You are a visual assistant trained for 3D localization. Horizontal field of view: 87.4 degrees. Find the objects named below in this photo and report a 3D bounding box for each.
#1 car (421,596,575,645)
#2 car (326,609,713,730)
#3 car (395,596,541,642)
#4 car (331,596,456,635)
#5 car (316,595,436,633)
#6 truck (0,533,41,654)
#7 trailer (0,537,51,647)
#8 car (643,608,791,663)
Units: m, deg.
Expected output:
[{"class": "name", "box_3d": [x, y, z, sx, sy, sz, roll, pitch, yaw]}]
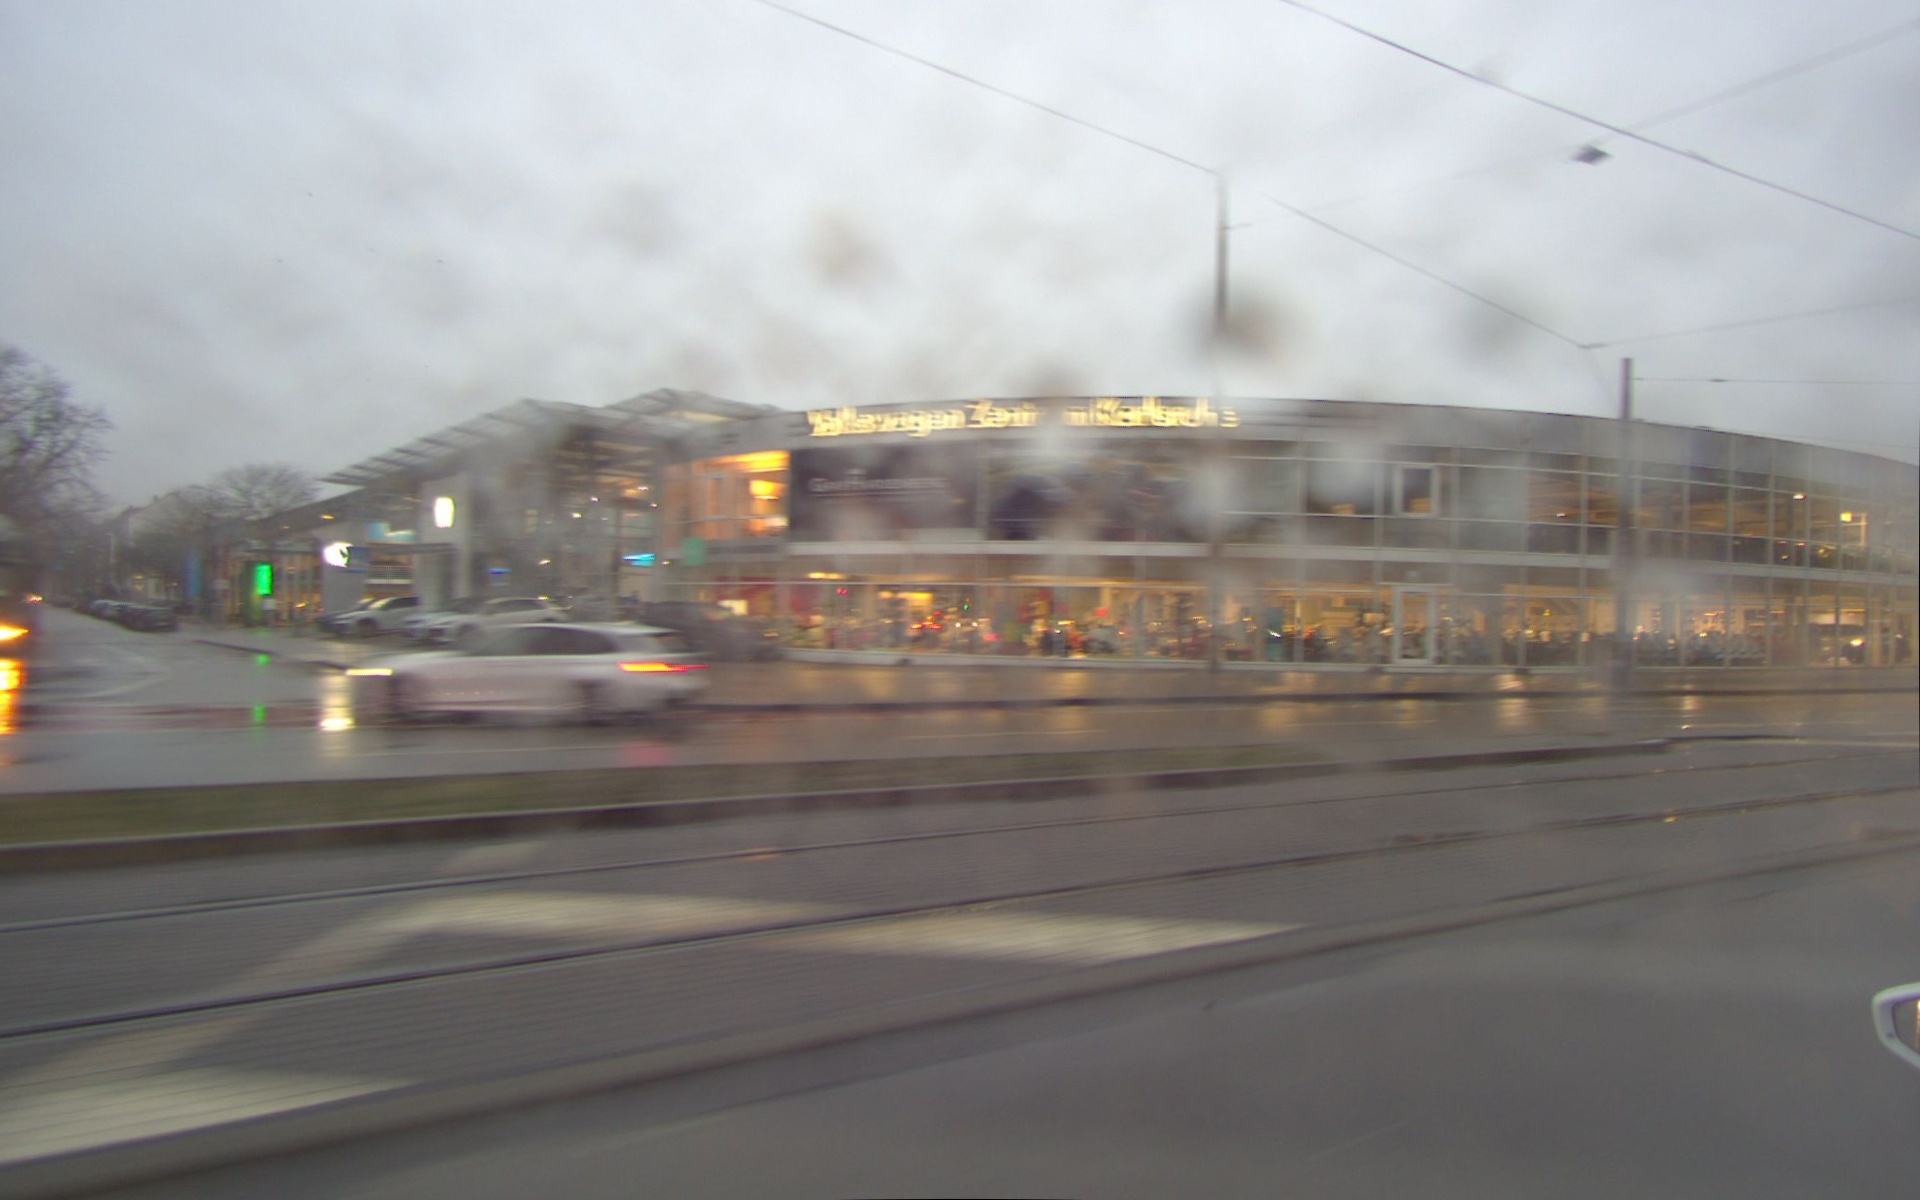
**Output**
[{"class": "car", "box_3d": [-15.666, 0.709, 34.170, 4.387, 1.543, 1.862, 2, 0, -42]}, {"class": "car", "box_3d": [-6.222, 0.952, 14.630, 4.715, 1.517, 2.000, 1, 0, 1]}, {"class": "car", "box_3d": [-17.626, 0.706, 36.114, 4.387, 1.543, 1.862, 2, 0, -42]}, {"class": "car", "box_3d": [-24.306, 0.662, 43.200, 4.387, 1.543, 1.862, 2, 0, -42]}, {"class": "car", "box_3d": [-26.114, 0.648, 45.003, 4.387, 1.543, 1.862, 2, 0, -42]}, {"class": "truck", "box_3d": [-30.094, -0.258, 30.756, 2.638, 3.463, 6.674, 2, 0, -41]}, {"class": "trailer", "box_3d": [-35.301, -0.395, 36.760, 2.616, 3.463, 14.874, 2, 0, -41]}, {"class": "car", "box_3d": [-7.206, 1.004, 29.664, 4.218, 1.417, 1.739, 2, 0, 31]}]
